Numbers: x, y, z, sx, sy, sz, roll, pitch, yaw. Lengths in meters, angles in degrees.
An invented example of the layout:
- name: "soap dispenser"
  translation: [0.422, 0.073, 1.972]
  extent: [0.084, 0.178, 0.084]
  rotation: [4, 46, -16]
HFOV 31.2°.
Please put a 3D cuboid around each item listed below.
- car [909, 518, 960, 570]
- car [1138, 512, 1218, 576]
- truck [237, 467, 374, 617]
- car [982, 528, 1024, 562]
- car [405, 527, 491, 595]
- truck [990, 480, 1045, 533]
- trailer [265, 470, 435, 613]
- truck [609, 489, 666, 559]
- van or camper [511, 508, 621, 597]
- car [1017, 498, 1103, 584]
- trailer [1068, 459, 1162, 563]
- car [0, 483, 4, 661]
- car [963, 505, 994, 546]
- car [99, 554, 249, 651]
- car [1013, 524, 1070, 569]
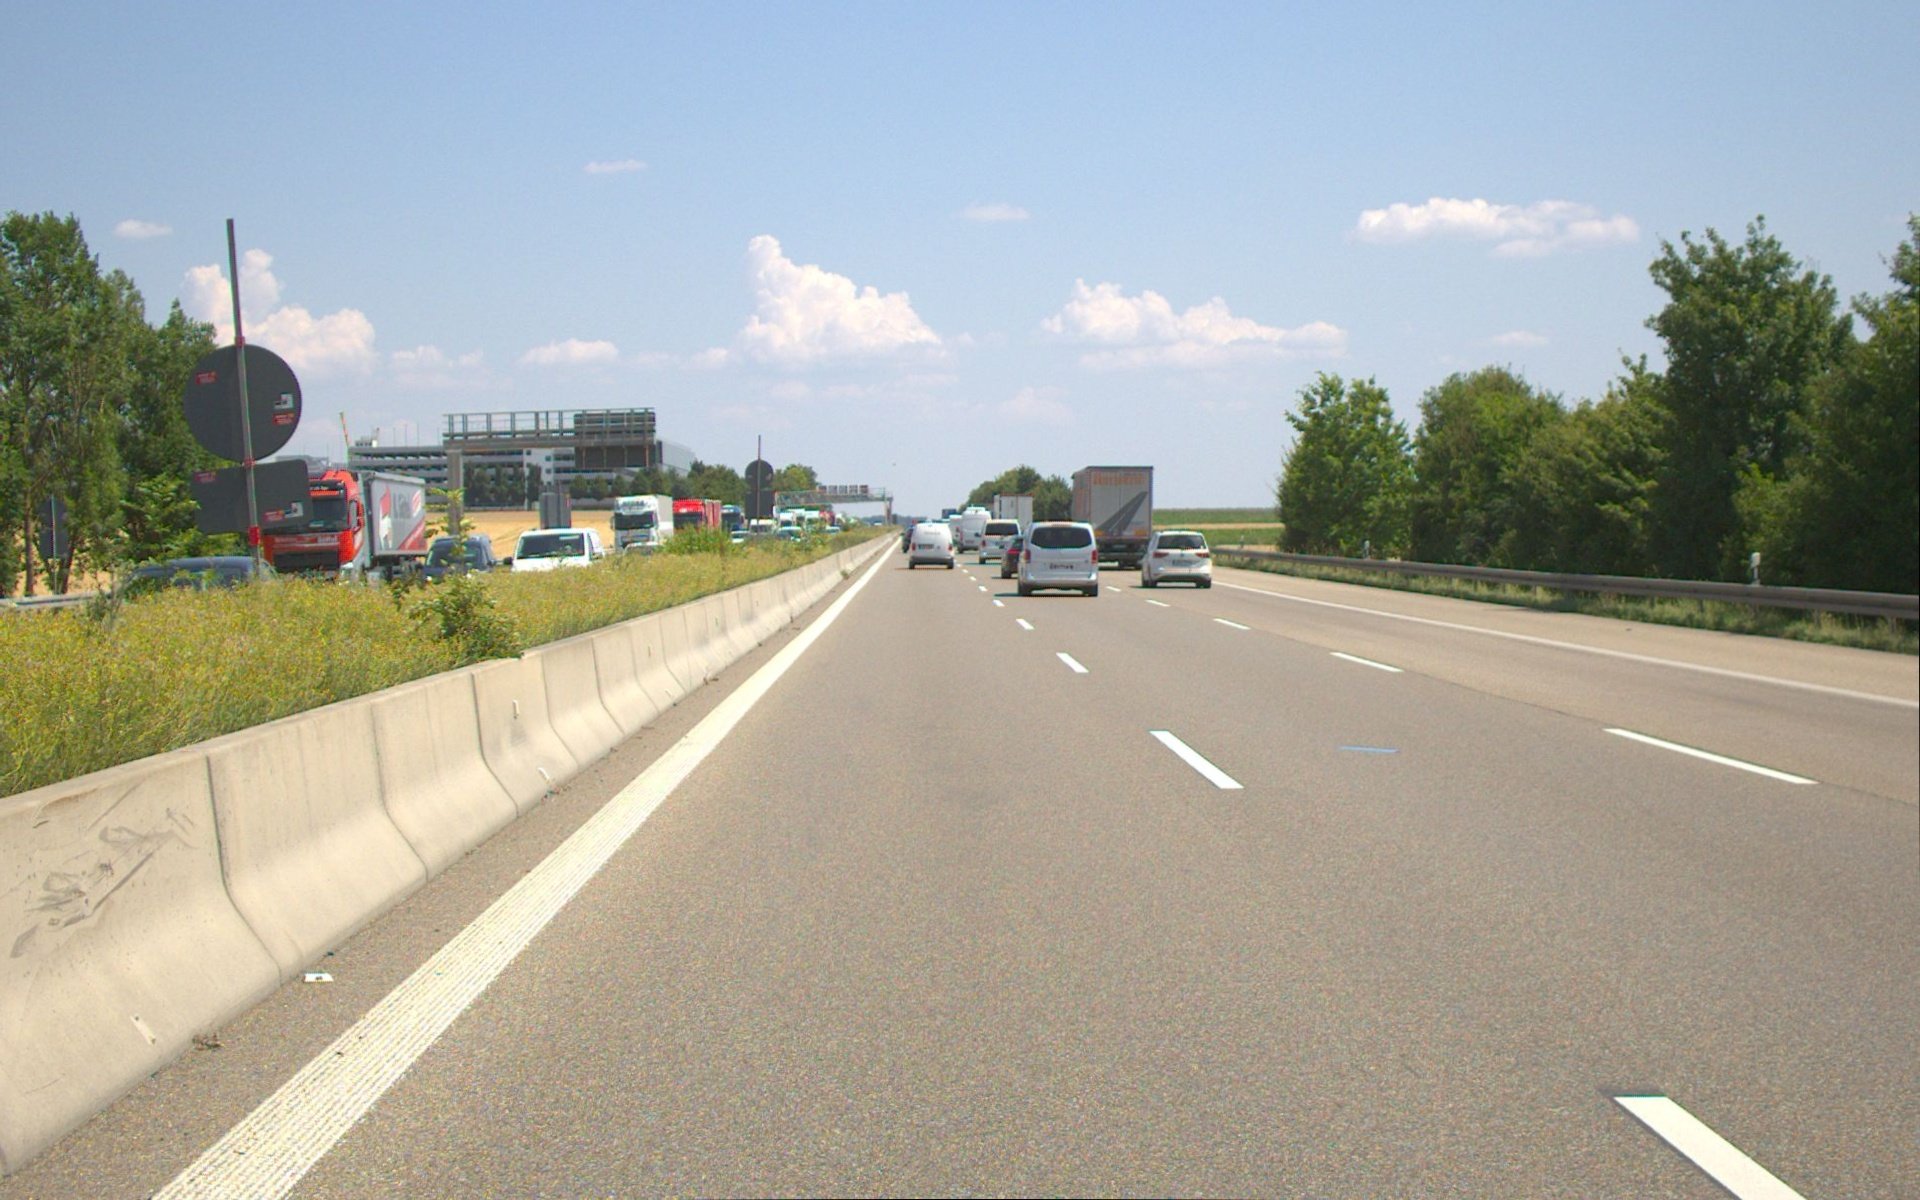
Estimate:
- name: "car"
  translation: [-1.020, -2.227, 137.092]
  extent: [1.993, 2.007, 4.000]
  rotation: [0, 0, -1]
- name: "car"
  translation: [6.235, -1.600, 98.720]
  extent: [1.993, 1.788, 4.000]
  rotation: [0, 0, -1]
- name: "truck"
  translation: [-17.562, -1.563, 92.405]
  extent: [2.856, 3.842, 4.000]
  rotation: [-2, 1, -1]
- name: "car"
  translation: [1.919, -2.460, 154.402]
  extent: [1.773, 1.442, 4.000]
  rotation: [0, 0, -1]
- name: "car"
  translation: [-13.376, -1.037, 90.042]
  extent: [1.694, 1.721, 4.262]
  rotation: [-1, 1, -2]
- name: "truck"
  translation: [4.319, -7.055, 261.150]
  extent: [3.815, 3.891, 9.581]
  rotation: [-1, 1, -1]
- name: "trailer"
  translation: [-17.688, -1.716, 100.500]
  extent: [2.856, 3.842, 12.186]
  rotation: [-2, 1, -1]
- name: "truck"
  translation: [-19.620, -4.631, 209.503]
  extent: [2.950, 4.143, 5.472]
  rotation: [-2, 1, -1]
- name: "van or camper"
  translation: [-8.894, -1.096, 77.963]
  extent: [1.993, 1.926, 5.202]
  rotation: [-1, 1, -2]
- name: "car"
  translation: [2.498, -1.453, 86.448]
  extent: [1.993, 2.112, 4.000]
  rotation: [0, 0, -1]
- name: "trailer"
  translation: [6.145, -3.500, 137.711]
  extent: [3.277, 3.953, 9.113]
  rotation: [0, 0, -1]
- name: "car"
  translation: [-11.988, -0.248, 36.008]
  extent: [2.185, 2.007, 5.763]
  rotation: [-1, 1, 1]
- name: "car"
  translation: [1.120, -4.495, 207.239]
  extent: [1.773, 2.384, 4.000]
  rotation: [0, 0, -1]
- name: "car"
  translation: [-12.667, 0.015, 55.592]
  extent: [1.617, 1.459, 3.865]
  rotation: [-1, 1, -1]
- name: "car"
  translation: [2.701, -1.759, 114.382]
  extent: [1.773, 1.442, 4.000]
  rotation: [0, 0, -1]
